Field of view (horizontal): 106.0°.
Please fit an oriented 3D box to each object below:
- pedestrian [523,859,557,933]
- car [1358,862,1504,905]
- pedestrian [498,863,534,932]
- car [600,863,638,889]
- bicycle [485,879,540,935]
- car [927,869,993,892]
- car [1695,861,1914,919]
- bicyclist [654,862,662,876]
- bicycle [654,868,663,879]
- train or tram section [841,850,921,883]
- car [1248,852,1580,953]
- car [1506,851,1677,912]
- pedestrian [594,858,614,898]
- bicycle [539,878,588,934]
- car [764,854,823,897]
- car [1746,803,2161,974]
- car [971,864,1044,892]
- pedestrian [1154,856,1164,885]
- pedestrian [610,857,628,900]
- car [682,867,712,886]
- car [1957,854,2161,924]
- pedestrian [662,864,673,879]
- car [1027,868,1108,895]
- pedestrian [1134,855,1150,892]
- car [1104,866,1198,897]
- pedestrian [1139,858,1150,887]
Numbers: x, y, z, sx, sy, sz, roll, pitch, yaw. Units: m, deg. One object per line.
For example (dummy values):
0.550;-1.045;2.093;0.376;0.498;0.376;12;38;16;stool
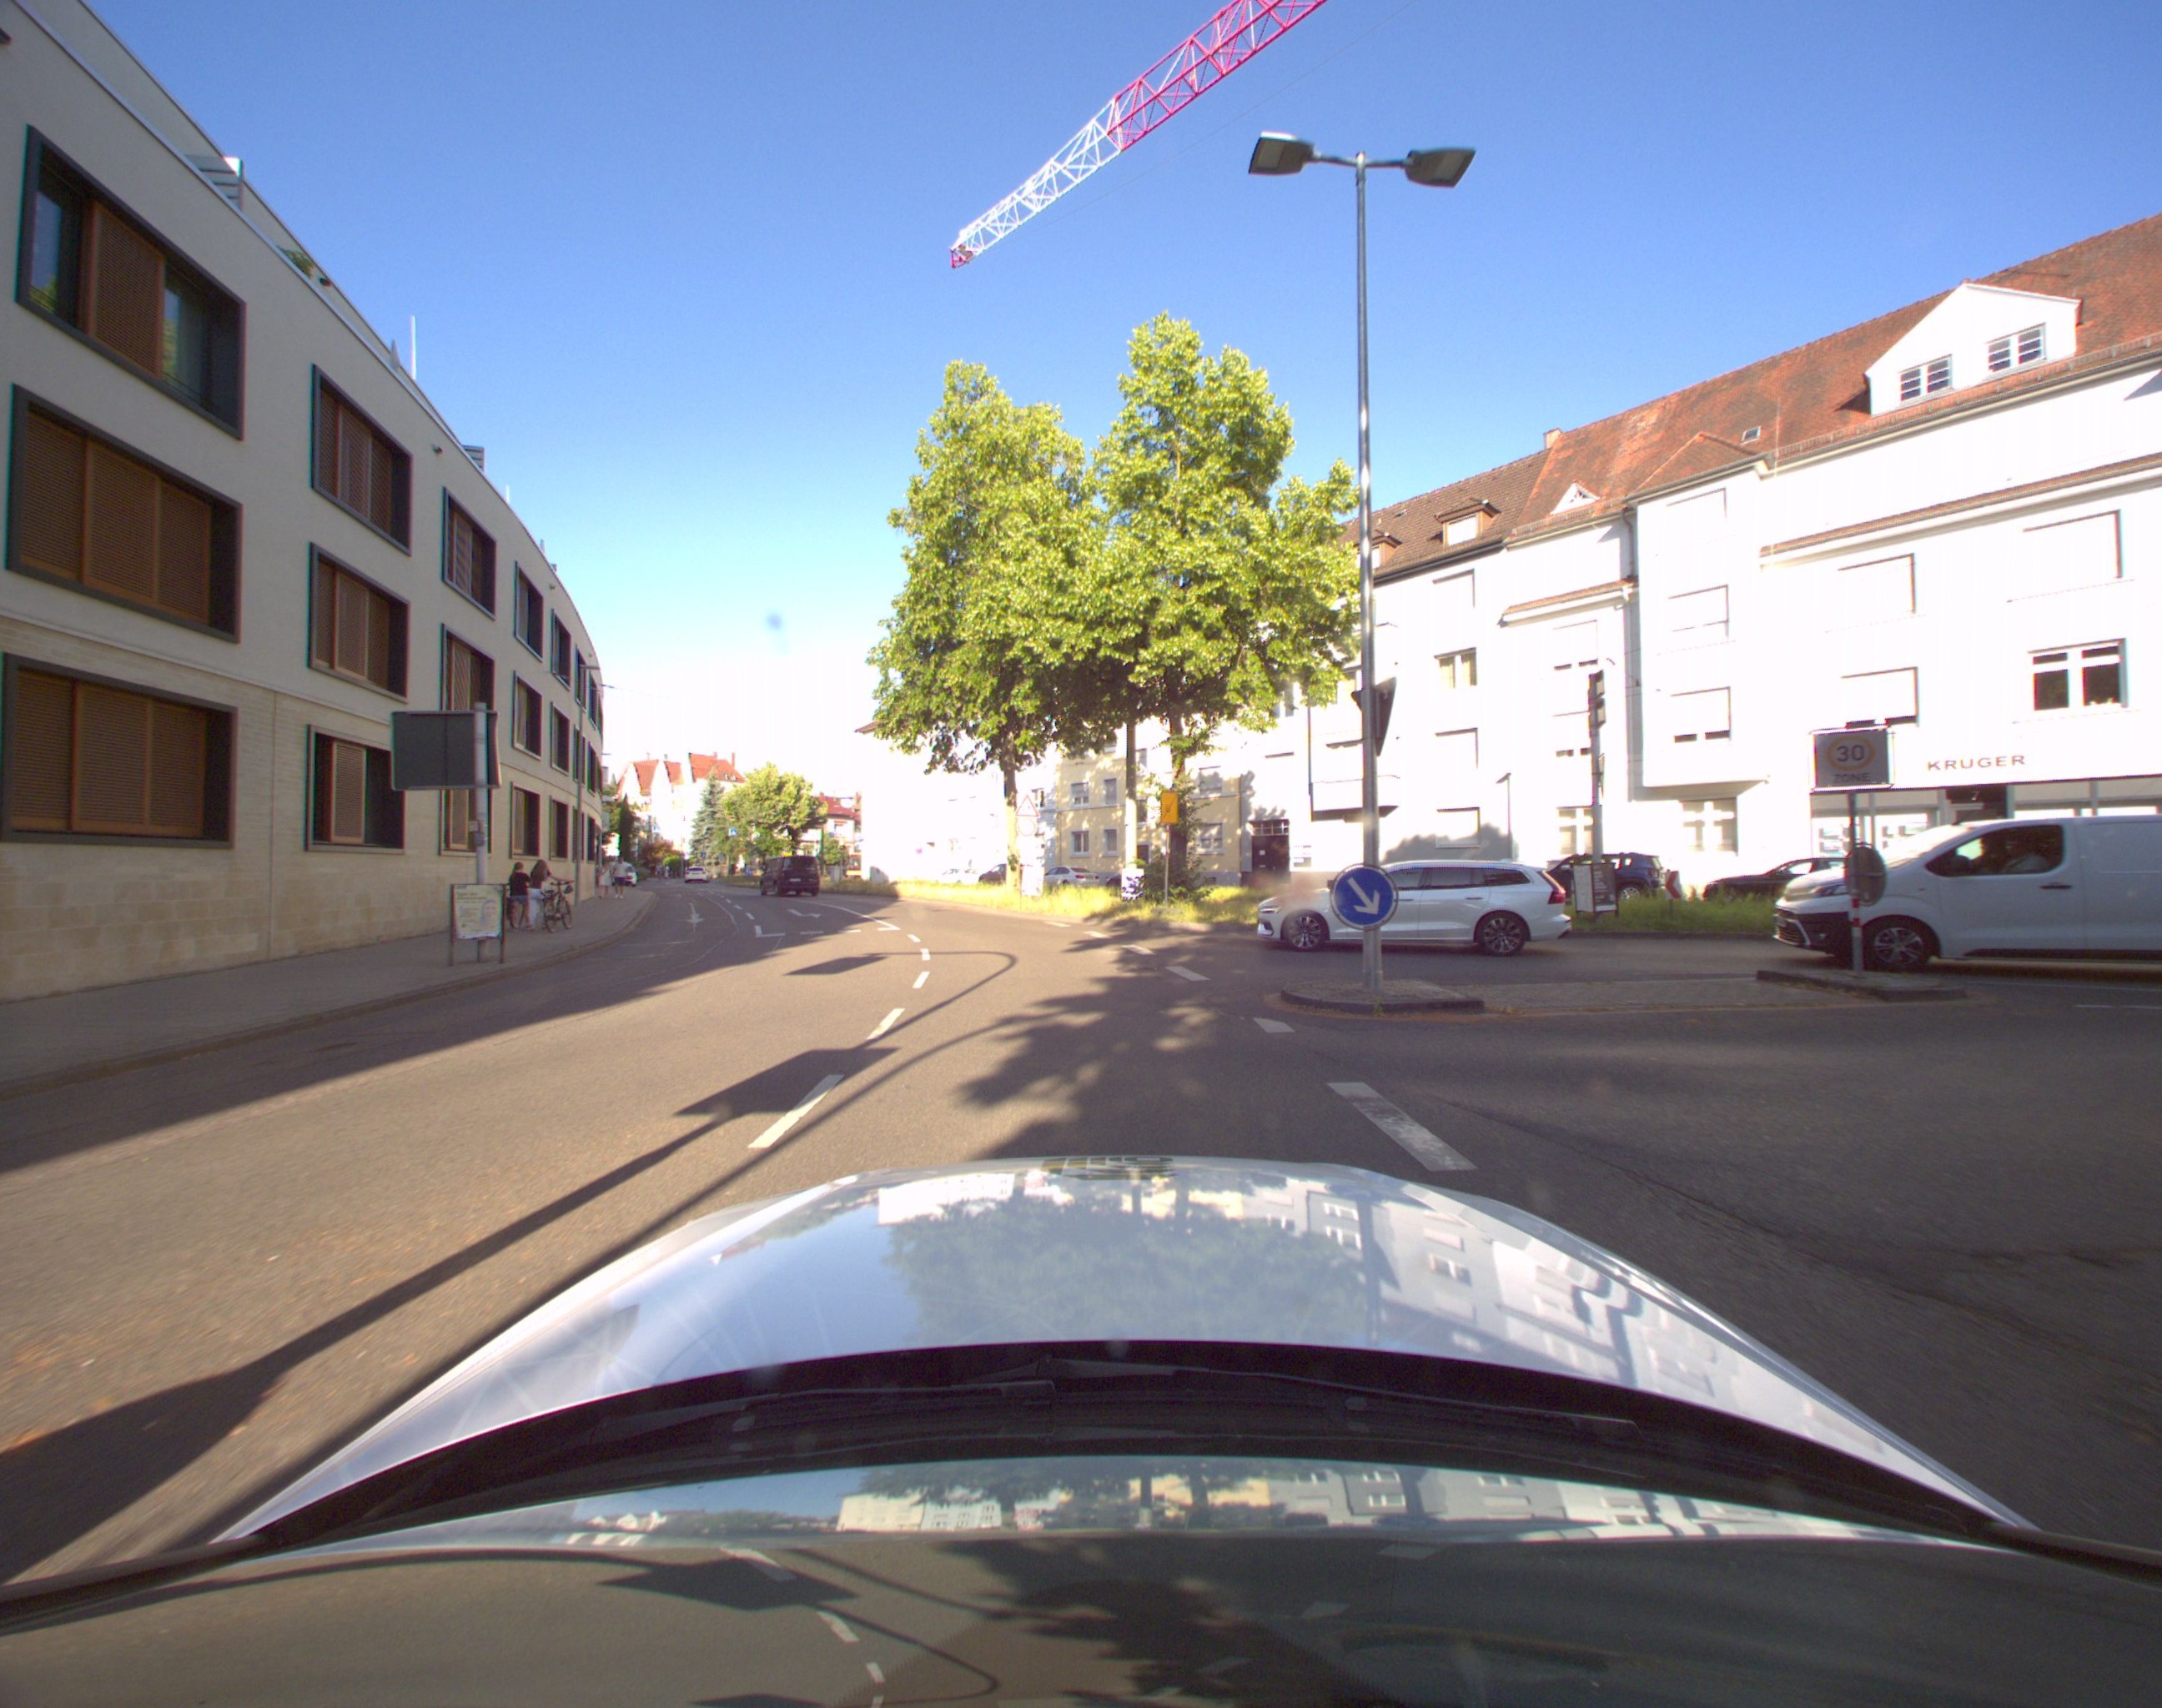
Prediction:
-12.464;0.956;18.768;0.475;1.647;0.599;-1;-1;-17;pedestrian
12.571;1.007;29.442;2.011;1.386;4.392;0;0;-42;car
-13.014;0.985;18.778;0.475;1.565;0.599;2;-1;-17;pedestrian
-34.466;1.672;60.741;1.825;1.870;4.283;4;-4;-38;car
-12.972;1.183;18.620;0.376;1.167;1.828;1;-1;-14;bicycle
-7.934;1.717;52.987;4.391;1.386;2.012;-1;0;45;car
19.348;0.880;21.926;2.010;1.386;4.160;0;0;-40;car
-41.697;1.483;80.334;0.627;1.380;0.792;0;-2;-35;bicyclist
-41.662;1.926;80.283;0.627;1.081;1.764;0;-1;-35;bicycle
-22.041;1.406;90.546;2.749;3.556;9.978;-1;-1;27;train or tram section
5.260;0.712;13.372;4.718;1.463;1.863;0;0;18;car
16.019;0.810;25.695;2.011;1.749;4.158;0;0;-42;car
-21.042;1.070;35.939;0.706;1.714;0.835;1;-3;-28;pedestrian
-11.989;1.180;18.921;0.441;1.178;1.955;1;-1;-18;bicycle
-14.264;1.034;40.278;2.006;2.014;3.961;1;-1;-31;car
11.517;0.380;10.030;4.840;1.854;2.012;0;0;28;car
-4.496;1.432;49.093;2.011;1.572;4.585;0;-2;-42;car
4.159;0.883;43.342;0.437;1.515;0.307;-2;-1;40;pedestrian
-20.549;1.088;36.237;0.609;1.849;0.983;1;-3;-28;pedestrian
-33.634;1.938;71.418;1.965;1.505;3.660;-1;0;-20;car
22.632;0.733;18.255;2.011;1.452;4.048;0;0;-42;car
-44.819;1.903;88.255;0.874;1.658;0.898;4;-5;-30;pedestrian
-0.792;1.473;44.846;2.011;1.386;4.392;0;0;-42;car
3.369;1.098;44.933;0.617;2.014;0.642;1;-2;-42;pedestrian
3.359;1.315;39.708;2.011;1.386;4.392;0;0;-42;car
3.365;0.976;43.285;0.438;1.515;0.335;-2;-1;44;pedestrian
